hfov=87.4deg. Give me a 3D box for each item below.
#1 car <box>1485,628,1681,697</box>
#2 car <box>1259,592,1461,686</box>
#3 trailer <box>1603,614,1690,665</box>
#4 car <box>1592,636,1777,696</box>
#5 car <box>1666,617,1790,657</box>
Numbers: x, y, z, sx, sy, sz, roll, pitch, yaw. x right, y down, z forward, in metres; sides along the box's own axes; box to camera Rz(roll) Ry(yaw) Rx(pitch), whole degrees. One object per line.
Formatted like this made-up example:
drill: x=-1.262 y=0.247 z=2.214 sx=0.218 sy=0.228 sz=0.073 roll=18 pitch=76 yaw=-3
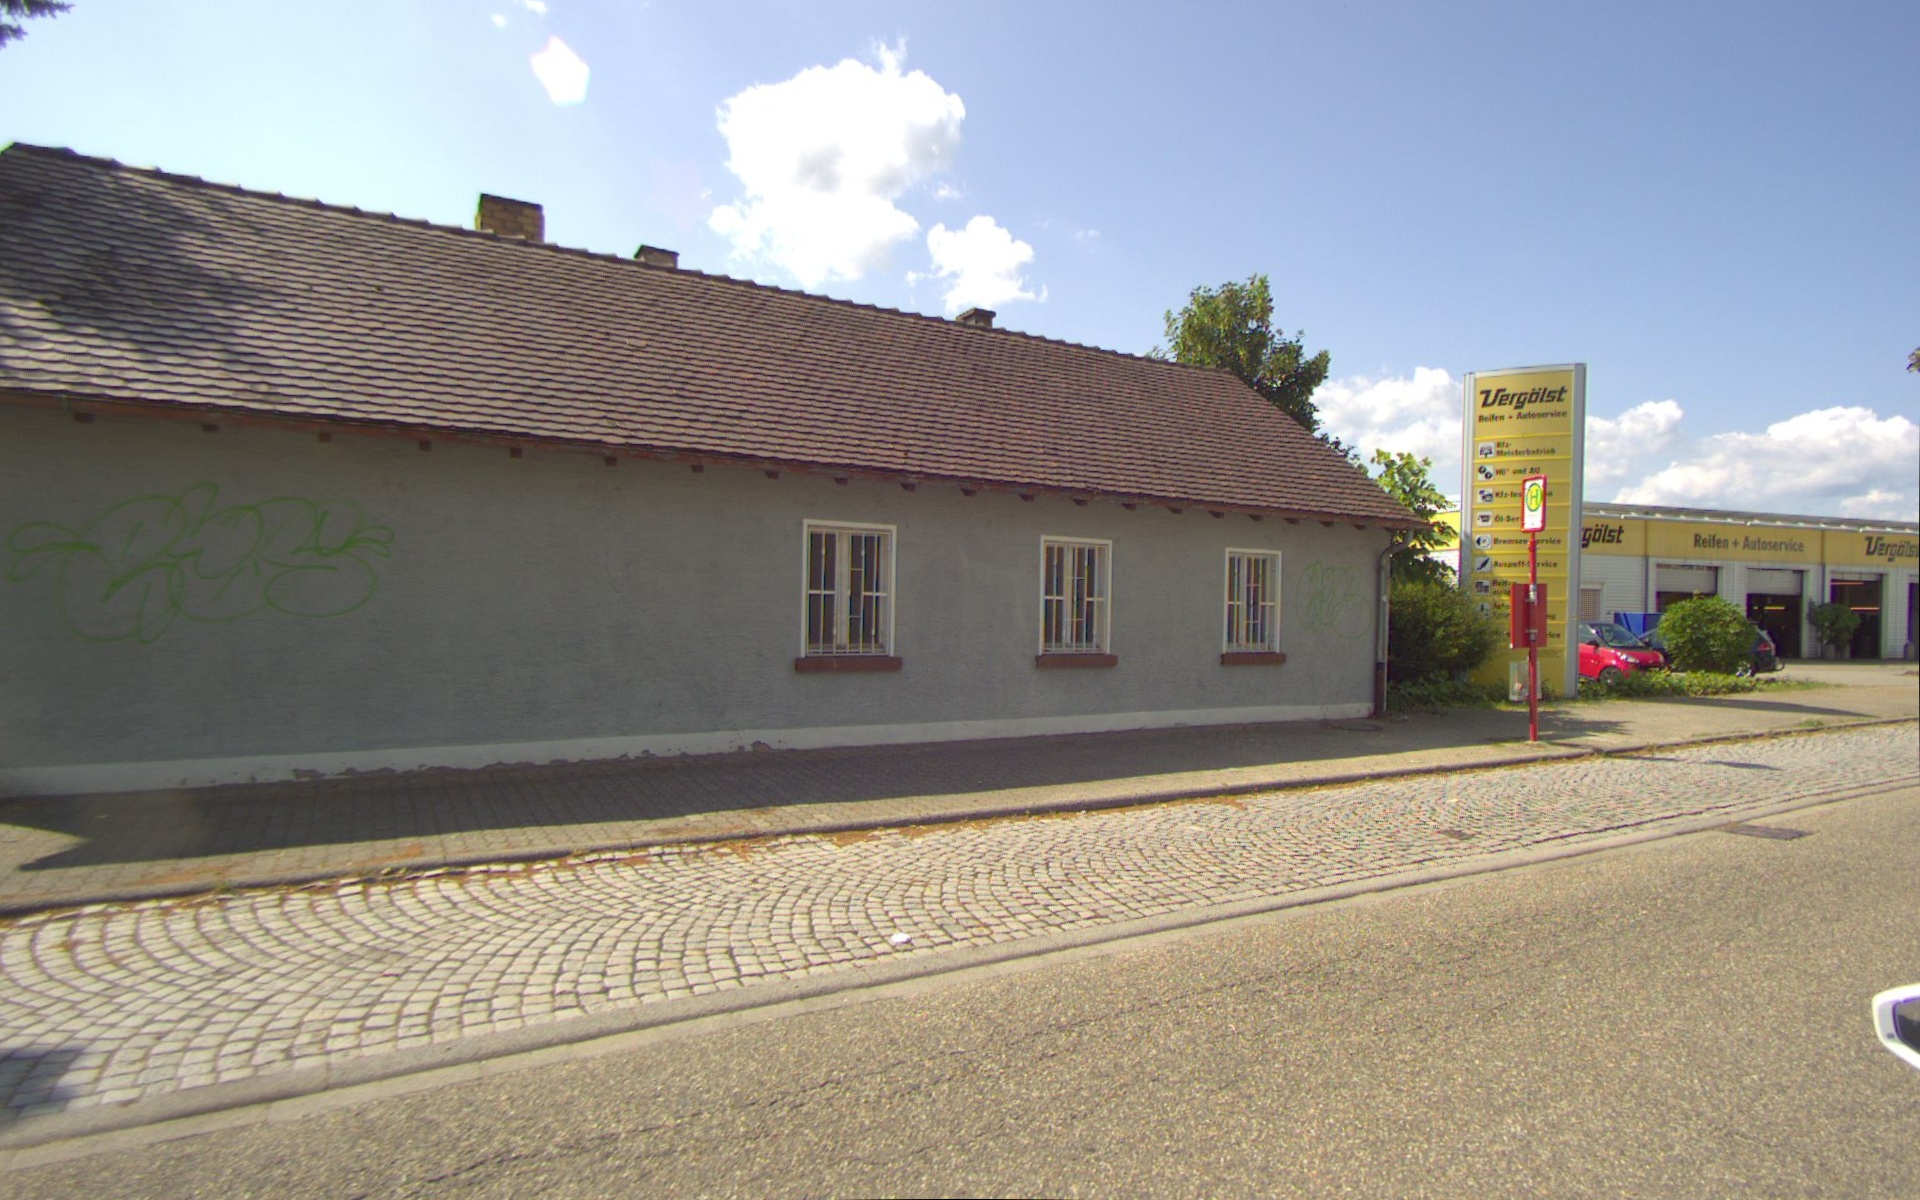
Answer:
car: x=14.824 y=1.434 z=24.140 sx=1.703 sy=1.441 sz=3.835 roll=1 pitch=-1 yaw=-17
car: x=7.925 y=0.726 z=20.272 sx=1.764 sy=1.694 sz=3.762 roll=1 pitch=-1 yaw=-19
trailer: x=23.212 y=1.335 z=33.981 sx=2.169 sy=1.671 sz=1.370 roll=1 pitch=0 yaw=-15
car: x=18.789 y=1.661 z=26.122 sx=3.745 sy=1.396 sz=1.870 roll=-2 pitch=-2 yaw=41
car: x=31.444 y=1.489 z=41.281 sx=1.951 sy=1.483 sz=3.999 roll=1 pitch=-1 yaw=-2
